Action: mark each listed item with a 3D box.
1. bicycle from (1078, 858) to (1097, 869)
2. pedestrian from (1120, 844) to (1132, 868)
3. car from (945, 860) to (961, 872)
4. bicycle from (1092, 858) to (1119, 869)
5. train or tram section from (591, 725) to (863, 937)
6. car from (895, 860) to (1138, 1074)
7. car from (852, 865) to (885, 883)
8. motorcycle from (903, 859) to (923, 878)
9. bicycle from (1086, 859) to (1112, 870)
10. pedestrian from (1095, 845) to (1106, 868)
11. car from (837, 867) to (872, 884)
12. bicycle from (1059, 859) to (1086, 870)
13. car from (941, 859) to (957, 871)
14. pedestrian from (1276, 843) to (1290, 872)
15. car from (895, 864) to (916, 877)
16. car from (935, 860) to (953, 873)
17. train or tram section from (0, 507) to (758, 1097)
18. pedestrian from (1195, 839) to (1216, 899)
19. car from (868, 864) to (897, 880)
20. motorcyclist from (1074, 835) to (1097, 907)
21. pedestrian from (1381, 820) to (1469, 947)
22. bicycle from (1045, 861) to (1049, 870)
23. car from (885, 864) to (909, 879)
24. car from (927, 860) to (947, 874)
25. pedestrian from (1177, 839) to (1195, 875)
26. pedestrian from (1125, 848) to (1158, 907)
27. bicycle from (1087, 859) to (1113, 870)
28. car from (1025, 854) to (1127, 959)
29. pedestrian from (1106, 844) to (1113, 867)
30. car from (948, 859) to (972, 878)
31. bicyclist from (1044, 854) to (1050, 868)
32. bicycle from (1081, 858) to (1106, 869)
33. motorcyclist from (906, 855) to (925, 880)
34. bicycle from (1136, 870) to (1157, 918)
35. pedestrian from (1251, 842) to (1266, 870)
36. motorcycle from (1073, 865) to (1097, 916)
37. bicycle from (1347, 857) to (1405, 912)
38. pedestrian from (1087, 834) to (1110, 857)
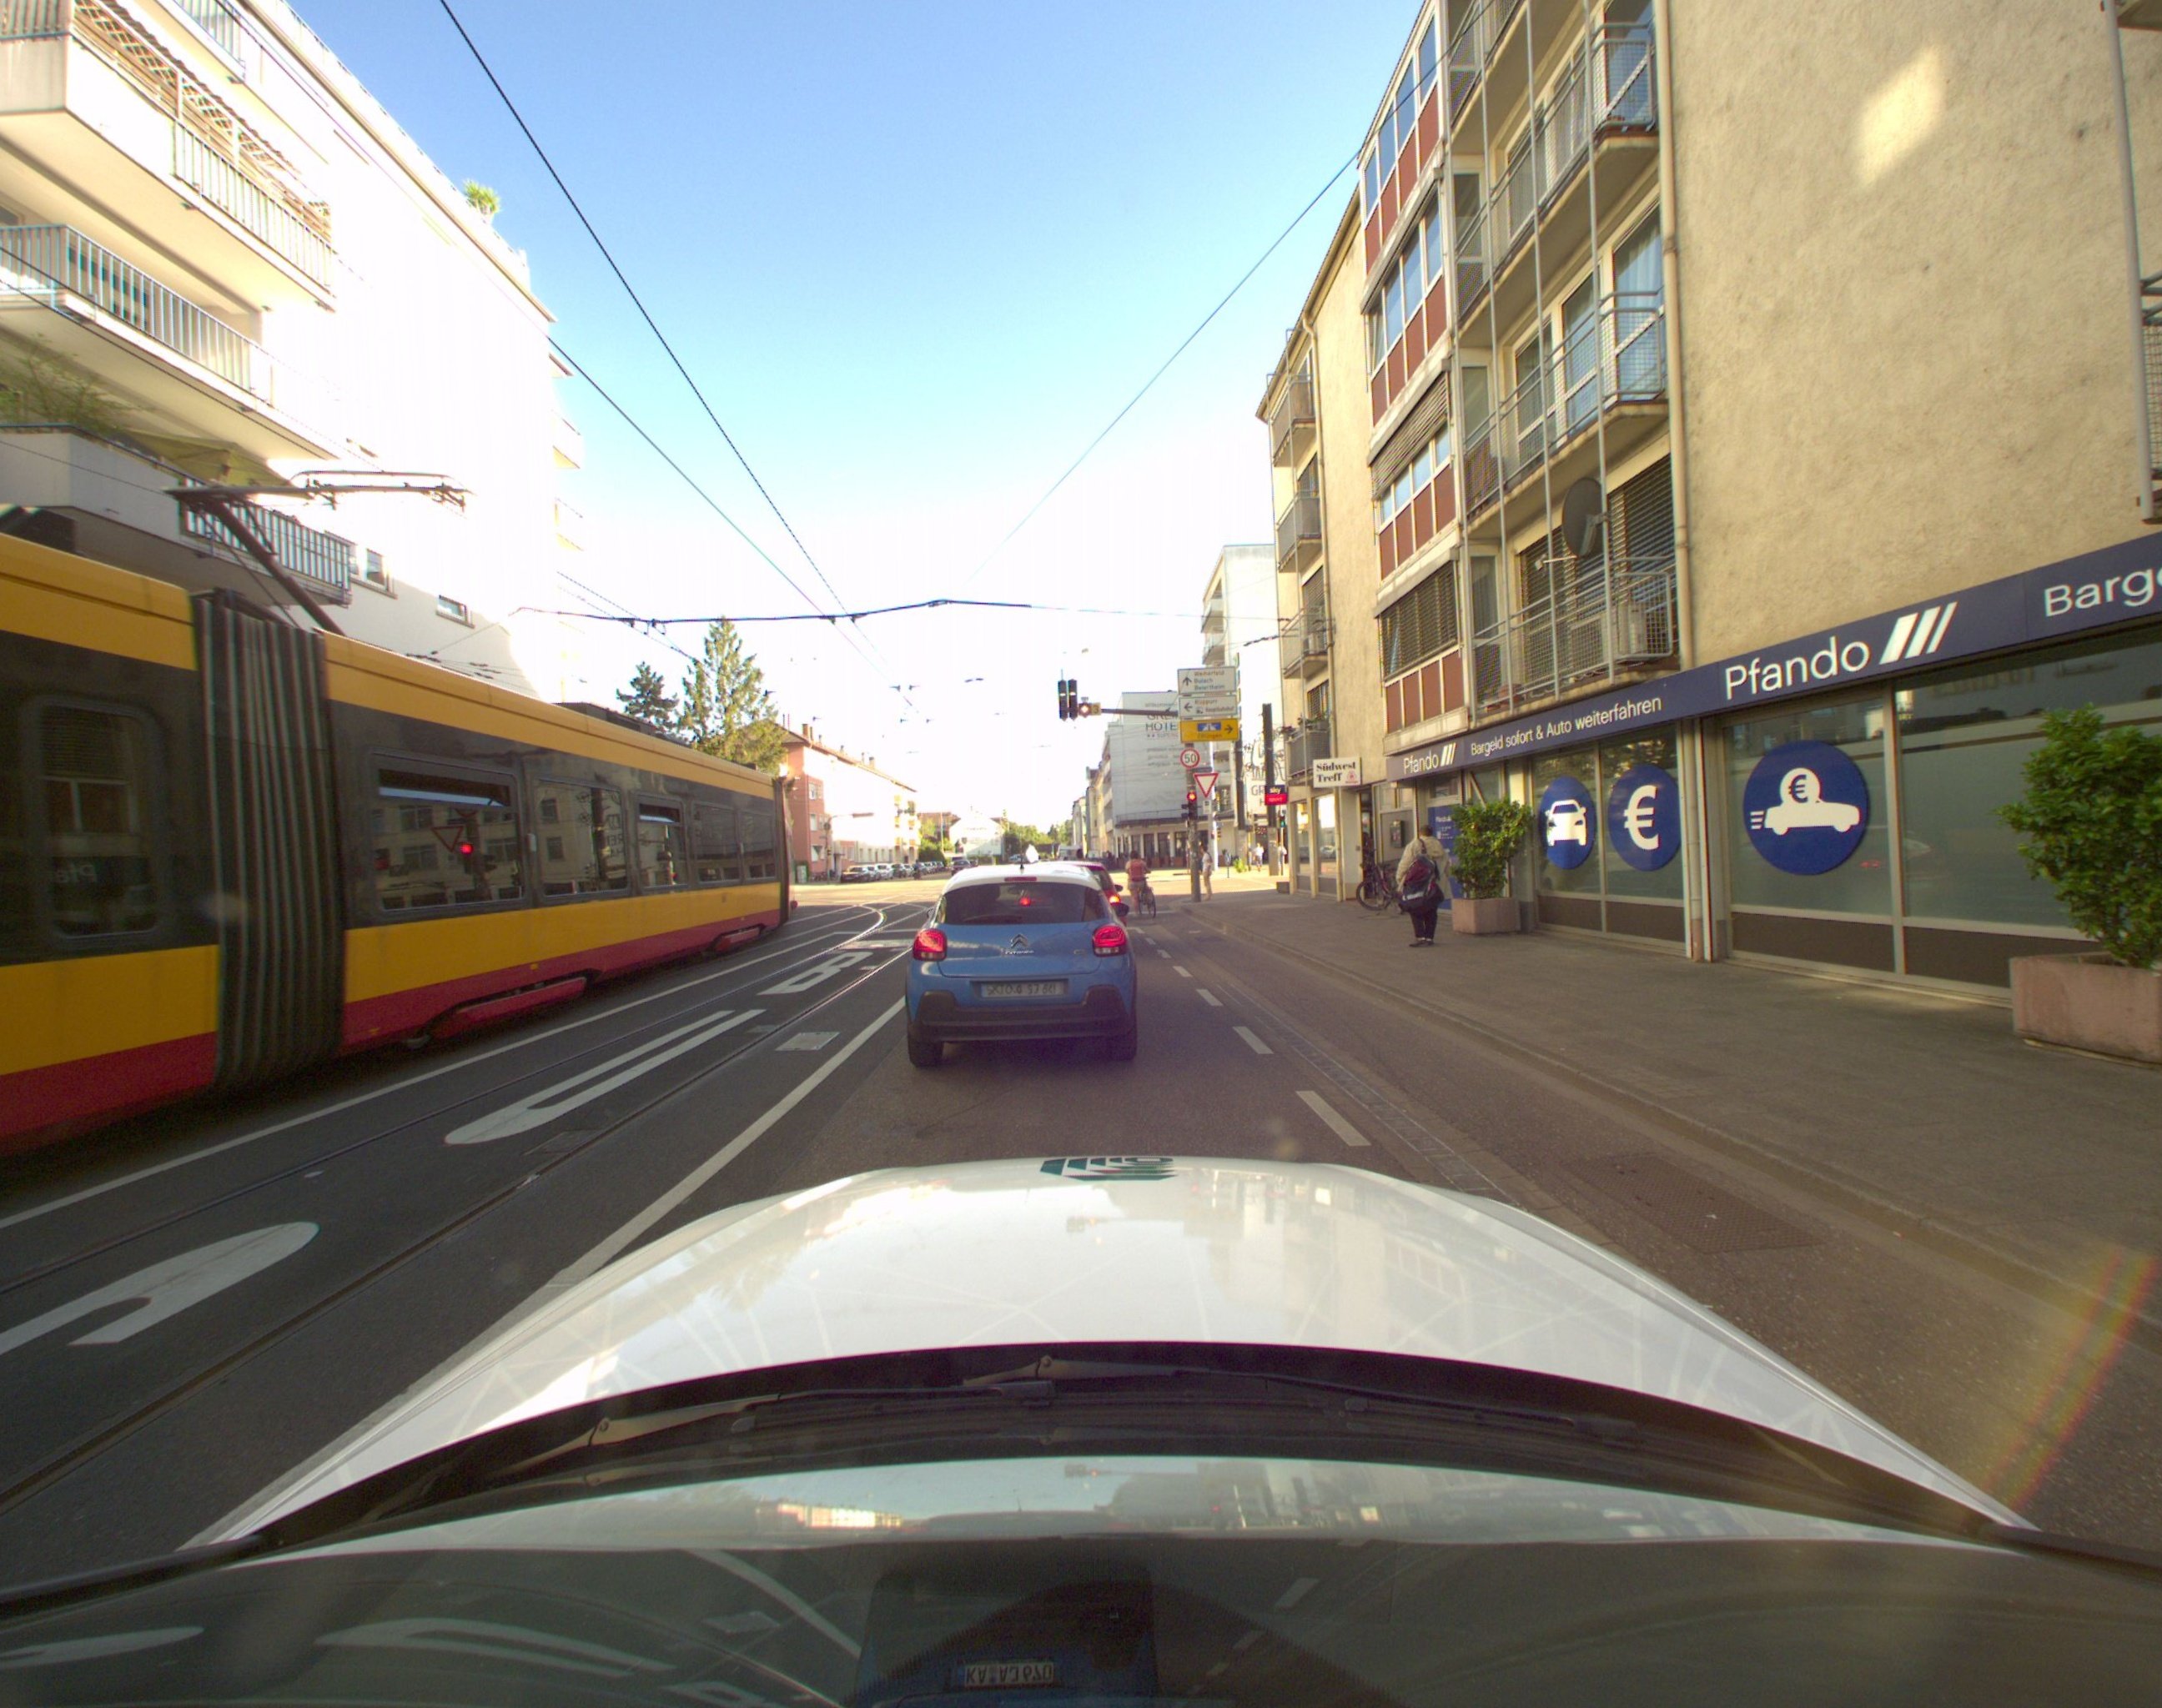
[{"bbox_3d":[0.566,0.824,69.500,1.765,0.901,0.369,-1,-1,36],"label":"bicycle"},{"bbox_3d":[3.795,0.135,68.852,0.712,2.014,0.754,0,-1,-23],"label":"pedestrian"},{"bbox_3d":[-19.152,1.771,122.010,1.841,1.687,3.872,0,-1,-1],"label":"car"},{"bbox_3d":[1.967,0.773,66.048,2.130,0.901,0.366,0,-1,-7],"label":"bicycle"},{"bbox_3d":[-7.994,-0.337,21.181,2.743,3.632,14.224,0,0,-8],"label":"train or tram section"},{"bbox_3d":[-0.387,0.784,7.311,1.648,1.444,3.524,0,-1,2],"label":"car"},{"bbox_3d":[-19.252,1.787,73.990,1.808,1.498,4.302,0,-1,2],"label":"car"},{"bbox_3d":[-13.766,1.171,66.980,0.921,1.486,3.724,0,-1,-1],"label":"motorcycle"},{"bbox_3d":[1.494,0.863,67.802,2.130,0.901,0.366,0,-1,-7],"label":"bicycle"},{"bbox_3d":[1.690,0.218,69.321,0.635,2.014,0.717,0,-1,-34],"label":"pedestrian"},{"bbox_3d":[-19.258,1.819,69.385,1.787,1.421,3.996,0,-1,1],"label":"car"},{"bbox_3d":[-0.710,0.882,66.412,2.130,0.901,0.366,0,-1,-7],"label":"bicycle"},{"bbox_3d":[-19.001,1.579,117.403,1.828,1.687,3.998,0,-1,-1],"label":"car"},{"bbox_3d":[11.607,0.223,46.854,0.747,1.657,0.886,-1,-1,11],"label":"pedestrian"},{"bbox_3d":[-19.954,1.856,92.720,1.728,1.498,3.996,0,-1,-2],"label":"car"},{"bbox_3d":[-18.826,1.688,112.040,1.877,1.687,3.998,0,-1,-1],"label":"car"},{"bbox_3d":[-6.661,-0.305,9.568,2.821,3.631,9.067,0,0,-5],"label":"train or tram section"},{"bbox_3d":[3.715,0.443,24.273,0.515,1.783,0.595,0,-1,0],"label":"pedestrian"},{"bbox_3d":[-19.453,1.750,80.111,1.781,1.511,4.150,0,-1,1],"label":"car"},{"bbox_3d":[0.118,0.406,19.769,0.524,1.716,0.717,0,-1,2],"label":"motorcyclist"},{"bbox_3d":[4.476,0.373,10.641,0.822,1.593,0.751,0,-1,1],"label":"pedestrian"},{"bbox_3d":[-3.538,1.151,84.730,0.348,0.903,1.855,0,-1,-7],"label":"bicycle"},{"bbox_3d":[-19.575,1.848,86.724,1.781,1.498,3.998,0,-1,-1],"label":"car"},{"bbox_3d":[-18.930,1.683,106.960,1.978,1.687,3.998,0,-1,-1],"label":"car"},{"bbox_3d":[6.041,0.176,46.997,0.922,2.014,0.760,0,-1,1],"label":"pedestrian"},{"bbox_3d":[1.497,0.583,20.336,0.774,1.460,0.682,0,-1,1],"label":"pedestrian"},{"bbox_3d":[1.540,0.873,67.392,2.130,0.901,0.366,0,-1,-7],"label":"bicycle"},{"bbox_3d":[-0.030,0.774,13.303,1.419,1.467,2.925,-2,-1,2],"label":"car"},{"bbox_3d":[2.478,0.148,70.357,0.575,2.014,0.625,0,-1,-1],"label":"pedestrian"},{"bbox_3d":[-11.352,1.347,76.816,1.770,1.666,3.854,0,-1,-2],"label":"car"},{"bbox_3d":[-3.545,0.737,84.633,0.560,1.477,0.746,0,-1,-7],"label":"bicyclist"},{"bbox_3d":[1.055,0.824,68.465,2.130,0.901,0.366,0,-1,-7],"label":"bicycle"},{"bbox_3d":[-13.737,1.074,67.588,1.182,2.013,1.275,-2,0,-1],"label":"motorcyclist"},{"bbox_3d":[1.638,0.978,20.578,0.426,1.123,1.999,0,-1,2],"label":"bicycle"},{"bbox_3d":[10.485,0.119,48.095,0.733,1.601,0.749,0,-1,4],"label":"pedestrian"},{"bbox_3d":[0.112,0.839,19.578,0.524,1.139,2.290,0,-1,2],"label":"motorcycle"},{"bbox_3d":[5.694,0.565,15.810,0.540,0.998,1.706,0,-1,2],"label":"bicycle"},{"bbox_3d":[1.631,-0.723,73.710,1.986,2.014,4.001,0,-1,2],"label":"pedestrian"}]
